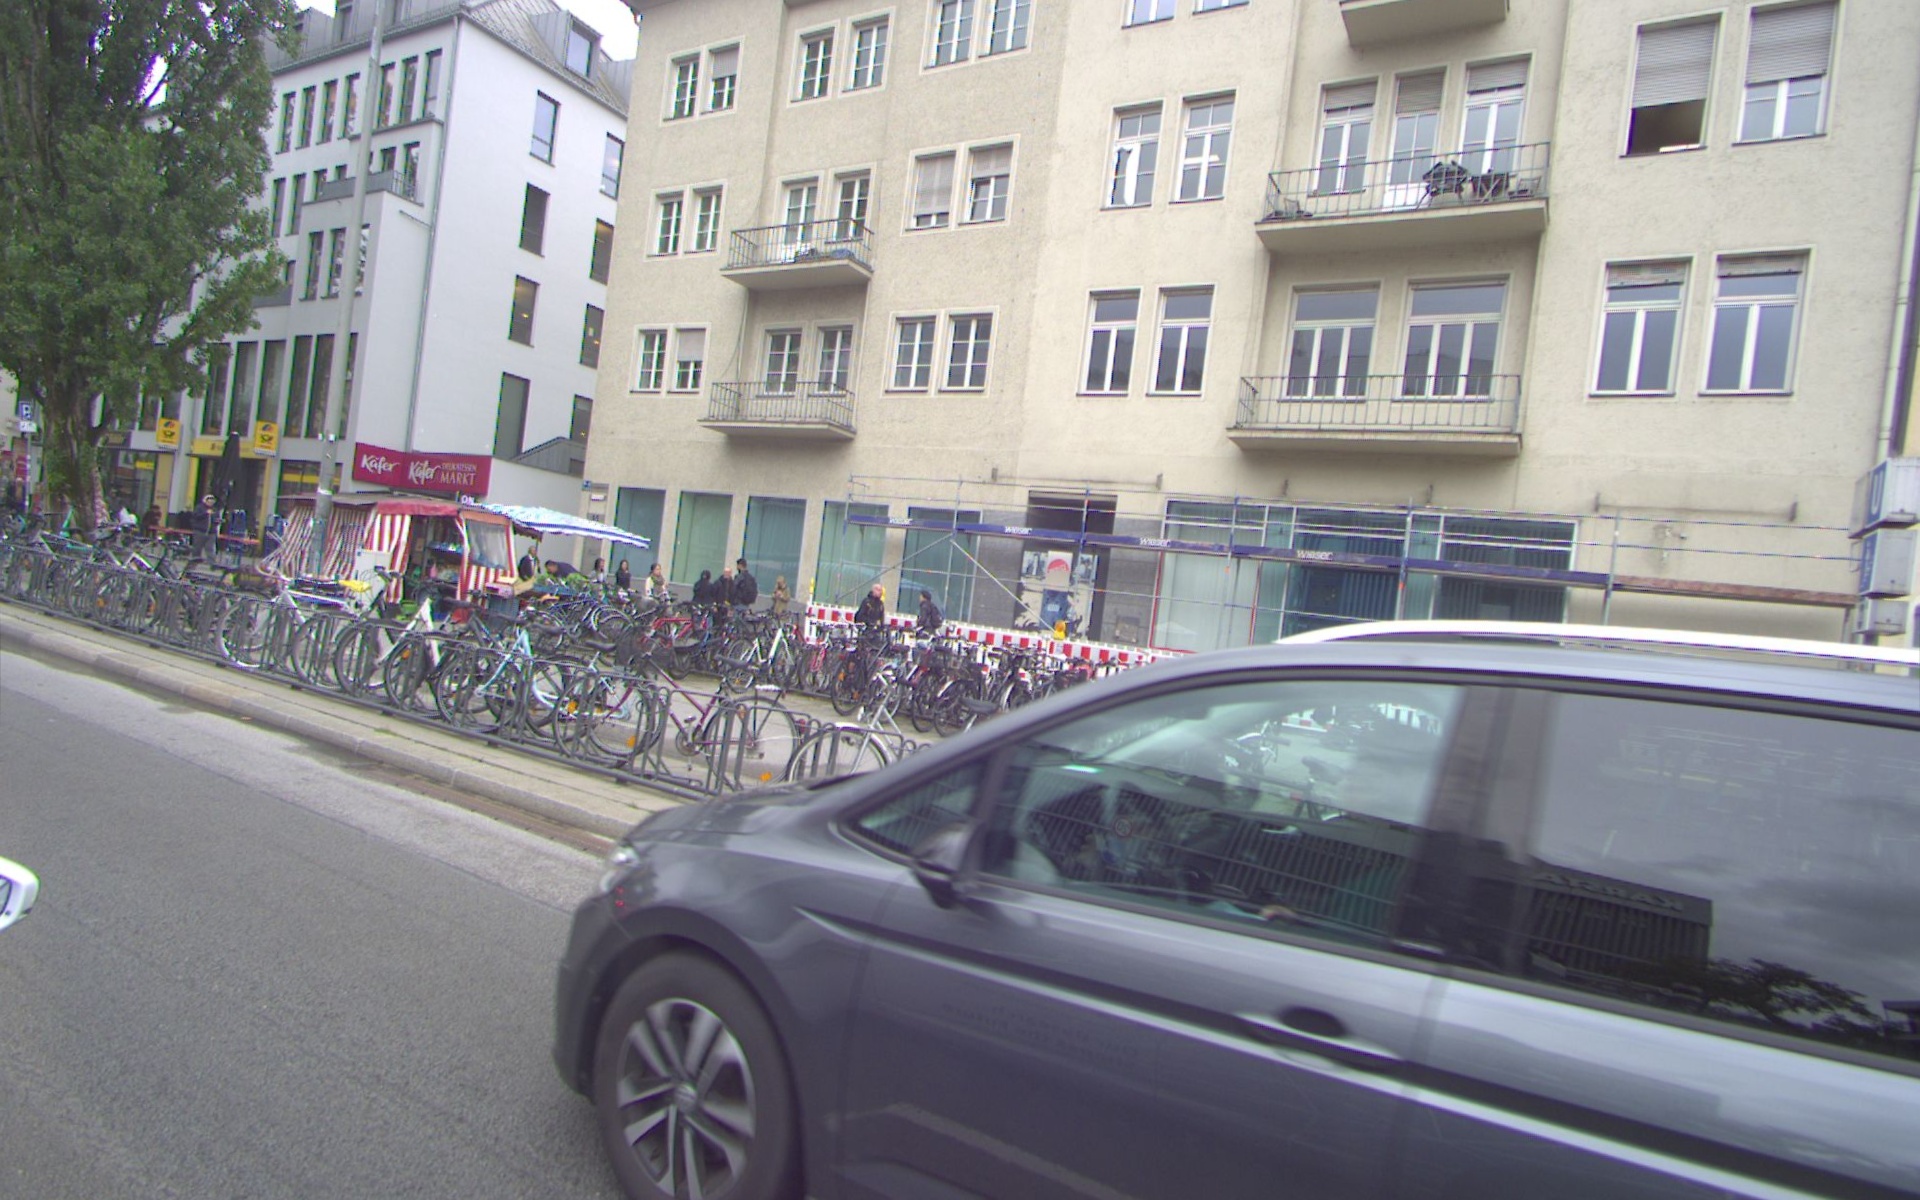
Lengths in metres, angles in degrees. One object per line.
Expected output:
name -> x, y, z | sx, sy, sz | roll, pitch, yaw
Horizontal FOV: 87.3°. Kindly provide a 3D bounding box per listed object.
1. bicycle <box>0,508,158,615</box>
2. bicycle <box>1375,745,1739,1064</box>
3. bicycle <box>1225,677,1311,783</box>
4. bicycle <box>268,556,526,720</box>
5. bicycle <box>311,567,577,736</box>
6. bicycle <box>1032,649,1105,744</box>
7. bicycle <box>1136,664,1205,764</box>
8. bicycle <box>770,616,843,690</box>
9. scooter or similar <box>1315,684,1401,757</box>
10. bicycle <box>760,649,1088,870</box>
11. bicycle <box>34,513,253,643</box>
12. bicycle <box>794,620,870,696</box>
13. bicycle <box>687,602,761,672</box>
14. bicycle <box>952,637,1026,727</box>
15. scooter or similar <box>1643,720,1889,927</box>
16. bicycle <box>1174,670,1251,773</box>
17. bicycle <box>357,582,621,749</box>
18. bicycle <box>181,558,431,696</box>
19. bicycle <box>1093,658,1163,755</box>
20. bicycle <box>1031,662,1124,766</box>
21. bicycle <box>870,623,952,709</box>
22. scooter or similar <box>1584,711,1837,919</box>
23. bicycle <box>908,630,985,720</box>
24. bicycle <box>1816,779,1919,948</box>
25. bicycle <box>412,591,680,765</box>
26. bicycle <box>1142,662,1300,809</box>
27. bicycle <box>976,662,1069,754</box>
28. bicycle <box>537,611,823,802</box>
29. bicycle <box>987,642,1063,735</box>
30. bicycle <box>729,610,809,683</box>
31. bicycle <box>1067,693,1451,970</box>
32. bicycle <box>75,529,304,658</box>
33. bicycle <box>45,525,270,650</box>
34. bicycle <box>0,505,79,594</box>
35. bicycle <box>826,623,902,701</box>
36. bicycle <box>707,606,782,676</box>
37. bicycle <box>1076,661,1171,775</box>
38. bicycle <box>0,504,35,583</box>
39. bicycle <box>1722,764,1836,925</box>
bicycle -> -11.521, -0.501, 12.846 | 1.814, 1.150, 0.583 | 8, 0, -24
bicycle -> 2.755, 1.325, 4.574 | 1.785, 1.172, 0.483 | 7, 0, -29
bicycle -> 3.604, 1.478, 11.694 | 0.444, 1.088, 1.551 | 8, 0, 32
bicycle -> -4.938, 0.341, 8.946 | 1.810, 1.212, 0.584 | 7, 1, -17
bicycle -> -4.301, 0.438, 8.526 | 1.810, 1.182, 0.584 | 7, 1, -17
bicycle -> 1.391, 1.187, 12.687 | 0.362, 1.088, 1.430 | 7, 0, 24
bicycle -> 2.562, 1.338, 12.156 | 0.362, 1.088, 1.554 | 7, 0, 24
bicycle -> -2.216, 0.776, 14.659 | 0.362, 0.993, 1.247 | 7, 0, 22
scooter or similar -> 6.350, 1.909, 16.049 | 1.106, 0.956, 0.535 | 7, 2, 29
bicycle -> -0.216, 0.982, 6.161 | 1.781, 1.125, 0.648 | 8, 0, -23
bicycle -> -9.553, -0.247, 11.835 | 1.810, 1.256, 0.584 | 7, 1, -17
bicycle -> -1.793, 0.824, 14.279 | 0.362, 0.993, 1.247 | 7, 0, 24
bicycle -> -3.645, 0.585, 15.638 | 0.362, 0.993, 1.247 | 7, 0, 22
bicycle -> 0.398, 1.062, 13.231 | 0.362, 1.088, 1.331 | 7, 0, 24
scooter or similar -> 5.816, 1.575, 7.338 | 0.298, 1.190, 1.268 | 6, 1, -28
bicycle -> 3.012, 1.397, 11.901 | 0.443, 1.088, 1.553 | 7, 0, 27
bicycle -> -3.760, 0.535, 8.172 | 1.778, 1.125, 0.489 | 8, 1, -17
bicycle -> -6.167, 0.258, 9.587 | 1.810, 1.065, 0.584 | 8, 1, -17
bicycle -> 2.082, 1.277, 12.341 | 0.362, 1.088, 1.430 | 7, 0, 24
bicycle -> 1.291, 1.216, 10.897 | 0.363, 1.012, 1.316 | 8, 0, 32
bicycle -> -0.652, 0.905, 13.824 | 0.362, 1.088, 1.504 | 7, 0, 24
scooter or similar -> 5.429, 1.519, 7.364 | 0.361, 1.190, 1.337 | 6, 1, -28
bicycle -> -0.162, 0.984, 13.338 | 0.362, 1.088, 1.331 | 7, 0, 24
bicycle -> 7.079, 1.970, 7.683 | 0.445, 0.976, 1.756 | 8, 0, 31
bicycle -> -3.177, 0.611, 7.883 | 1.778, 1.125, 0.584 | 8, 1, -17
bicycle -> 2.539, 1.294, 9.992 | 0.365, 1.156, 1.712 | 6, 1, -26
bicycle -> 0.716, 1.181, 11.193 | 0.363, 0.926, 1.294 | 8, 0, 32
bicycle -> -1.969, 0.763, 7.184 | 1.778, 1.125, 0.560 | 8, 1, -18
bicycle -> 0.856, 1.118, 12.923 | 0.362, 1.088, 1.430 | 7, 0, 24
bicycle -> -2.811, 0.699, 14.901 | 0.363, 0.993, 1.246 | 7, 0, 28
bicycle -> 1.549, 1.182, 5.180 | 1.782, 1.172, 0.648 | 7, 0, -24
bicycle -> -8.402, -0.061, 11.047 | 1.810, 1.150, 0.584 | 8, 1, -17
bicycle -> -9.048, -0.135, 11.418 | 1.810, 1.150, 0.584 | 8, 1, -17
bicycle -> -13.799, -0.784, 14.235 | 1.814, 1.150, 0.583 | 8, 0, -24
bicycle -> -1.314, 0.860, 13.910 | 0.362, 0.993, 1.247 | 7, 0, 24
bicycle -> -3.263, 0.629, 15.321 | 0.362, 0.993, 1.247 | 7, 0, 22
bicycle -> 1.760, 1.233, 10.712 | 0.363, 1.090, 1.419 | 8, 0, 32
bicycle -> -15.069, -0.947, 14.906 | 1.814, 1.150, 0.583 | 8, 0, -24
bicycle -> 6.520, 1.896, 8.066 | 0.363, 0.976, 1.756 | 8, 0, 31
